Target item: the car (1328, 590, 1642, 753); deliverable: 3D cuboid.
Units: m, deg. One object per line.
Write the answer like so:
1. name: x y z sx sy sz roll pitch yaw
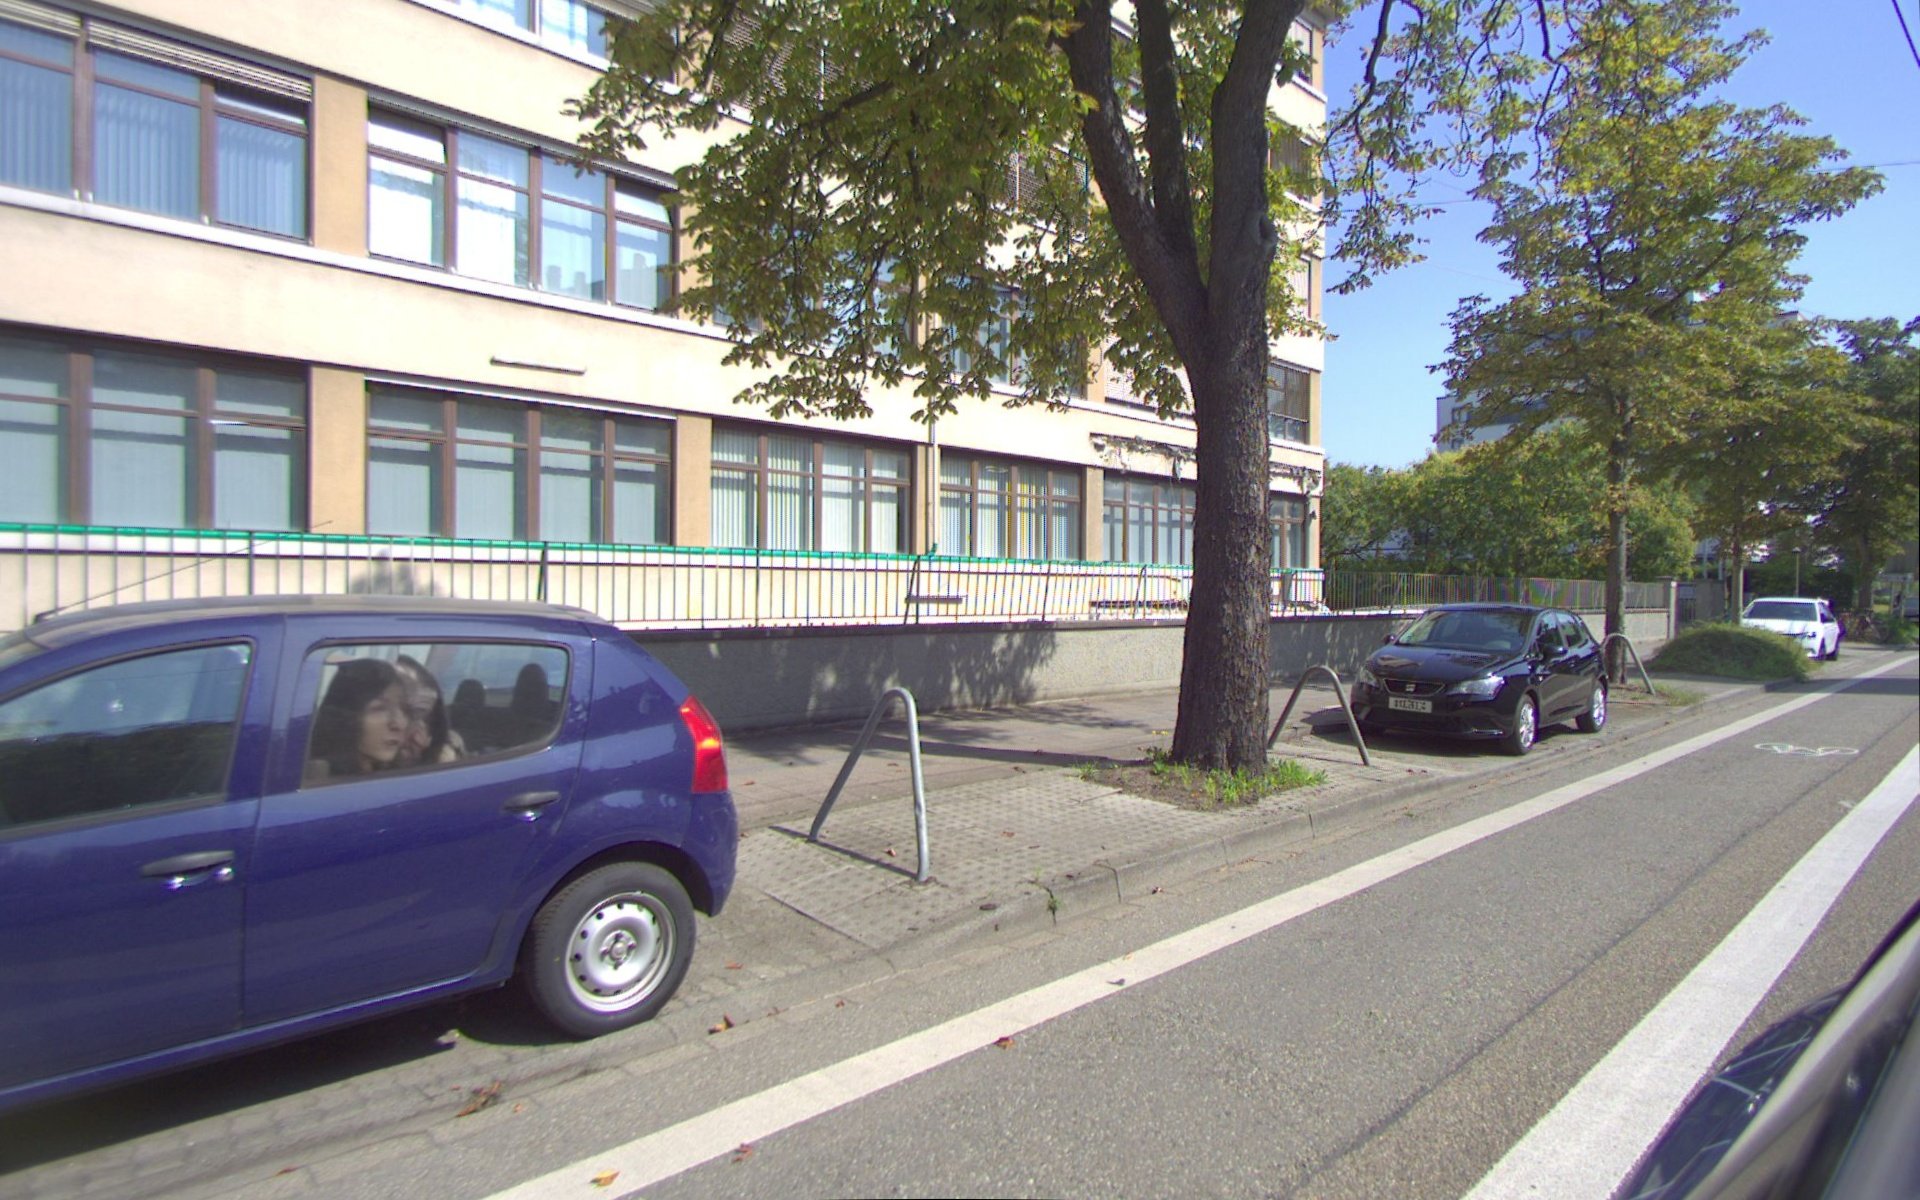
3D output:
1. car: 5.863 0.625 11.079 4.143 1.425 1.662 -1 1 -41

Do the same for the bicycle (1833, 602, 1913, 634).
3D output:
1. bicycle: 28.528 0.542 31.652 0.548 0.970 1.815 0 0 -41

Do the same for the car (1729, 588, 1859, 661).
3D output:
1. car: 19.216 0.493 23.253 4.143 1.499 1.662 -1 1 -41

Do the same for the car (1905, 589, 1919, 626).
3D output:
1. car: 41.928 0.317 43.379 4.532 1.534 1.758 -1 2 -43

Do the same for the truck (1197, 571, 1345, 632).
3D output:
1. truck: 12.760 0.058 41.855 2.257 2.355 5.518 0 0 -39

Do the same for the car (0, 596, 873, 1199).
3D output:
1. car: -2.473 0.807 3.365 4.143 1.575 1.746 -1 1 -41
